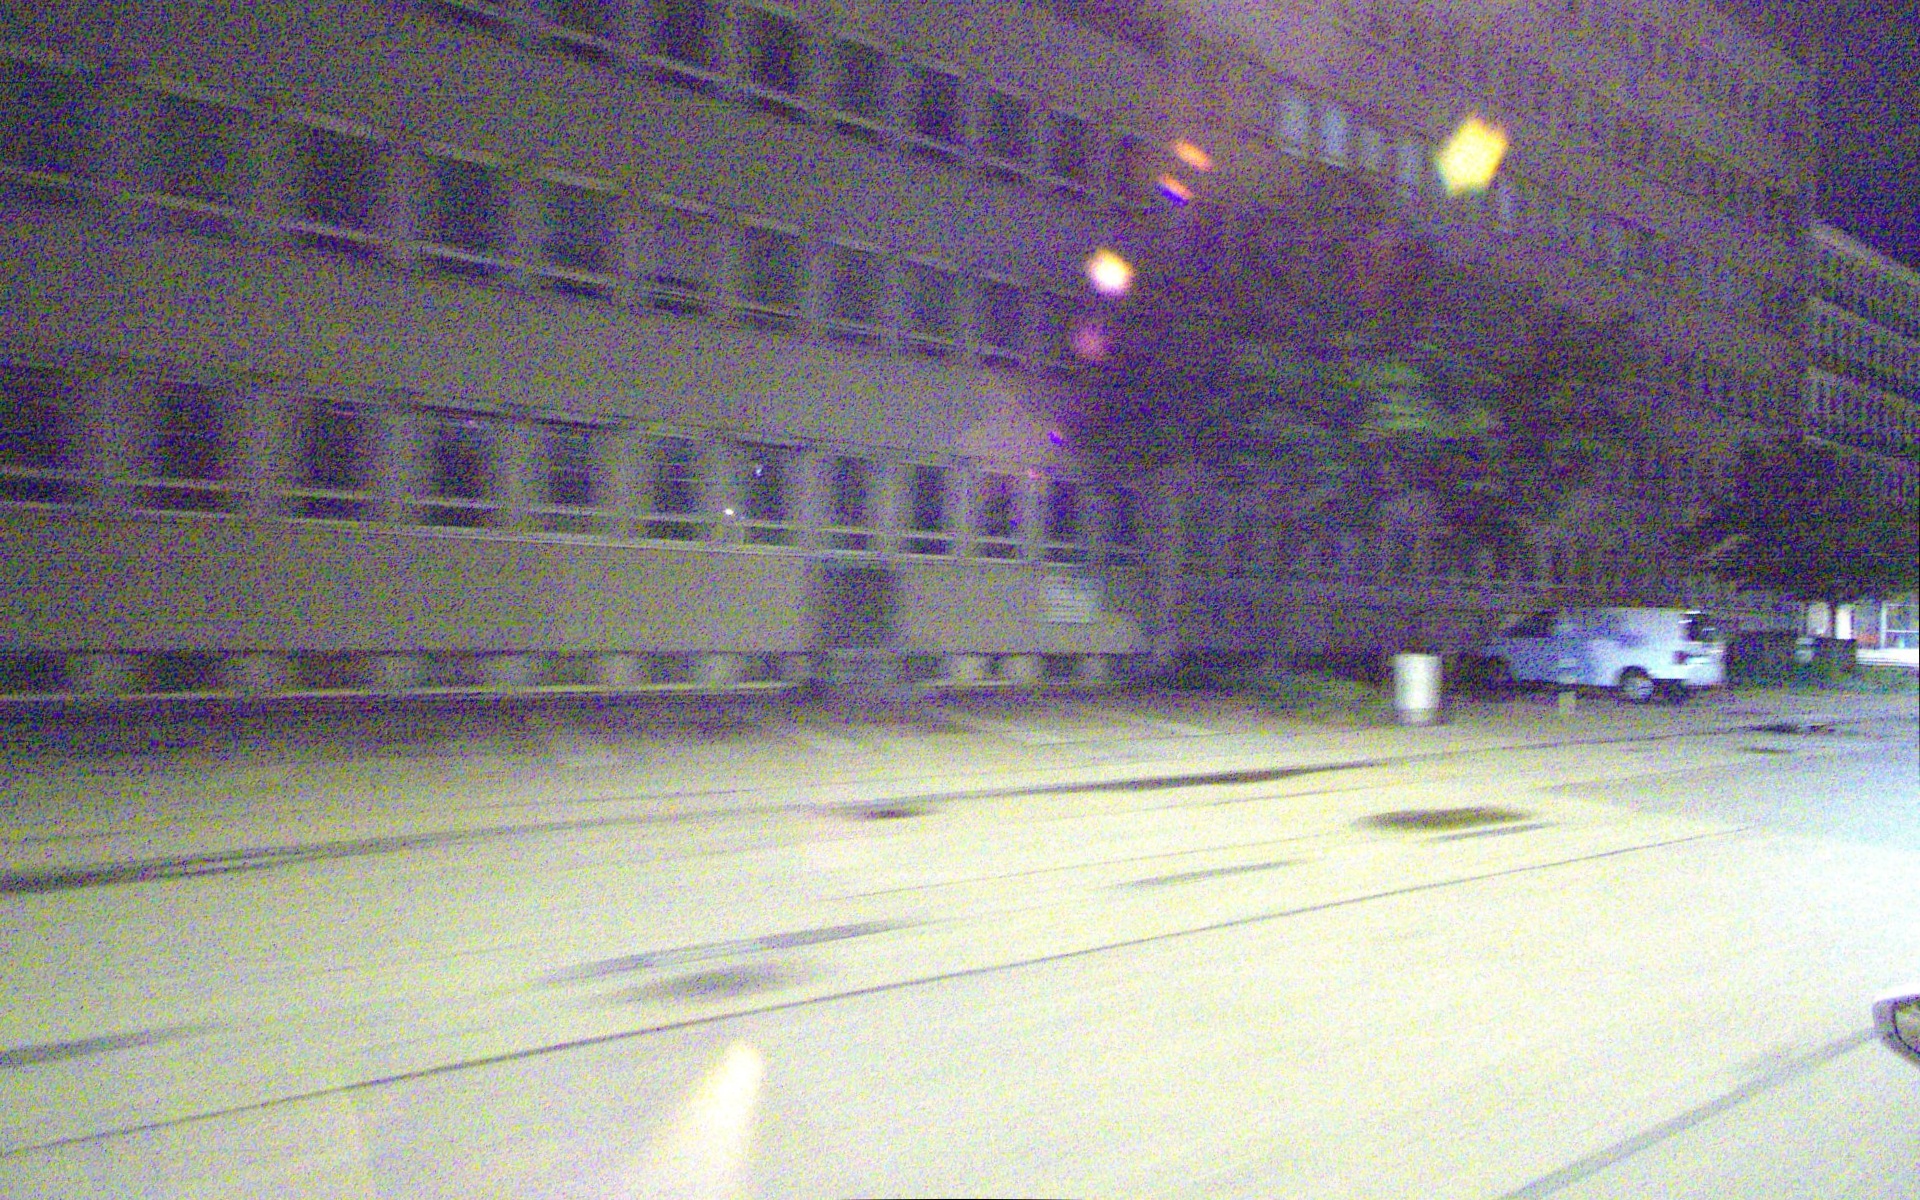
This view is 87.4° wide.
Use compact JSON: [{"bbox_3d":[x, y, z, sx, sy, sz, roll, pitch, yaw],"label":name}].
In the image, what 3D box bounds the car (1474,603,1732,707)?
[{"bbox_3d":[14.123,1.113,22.338,1.976,1.998,4.411,1,0,-30],"label":"car"}]
